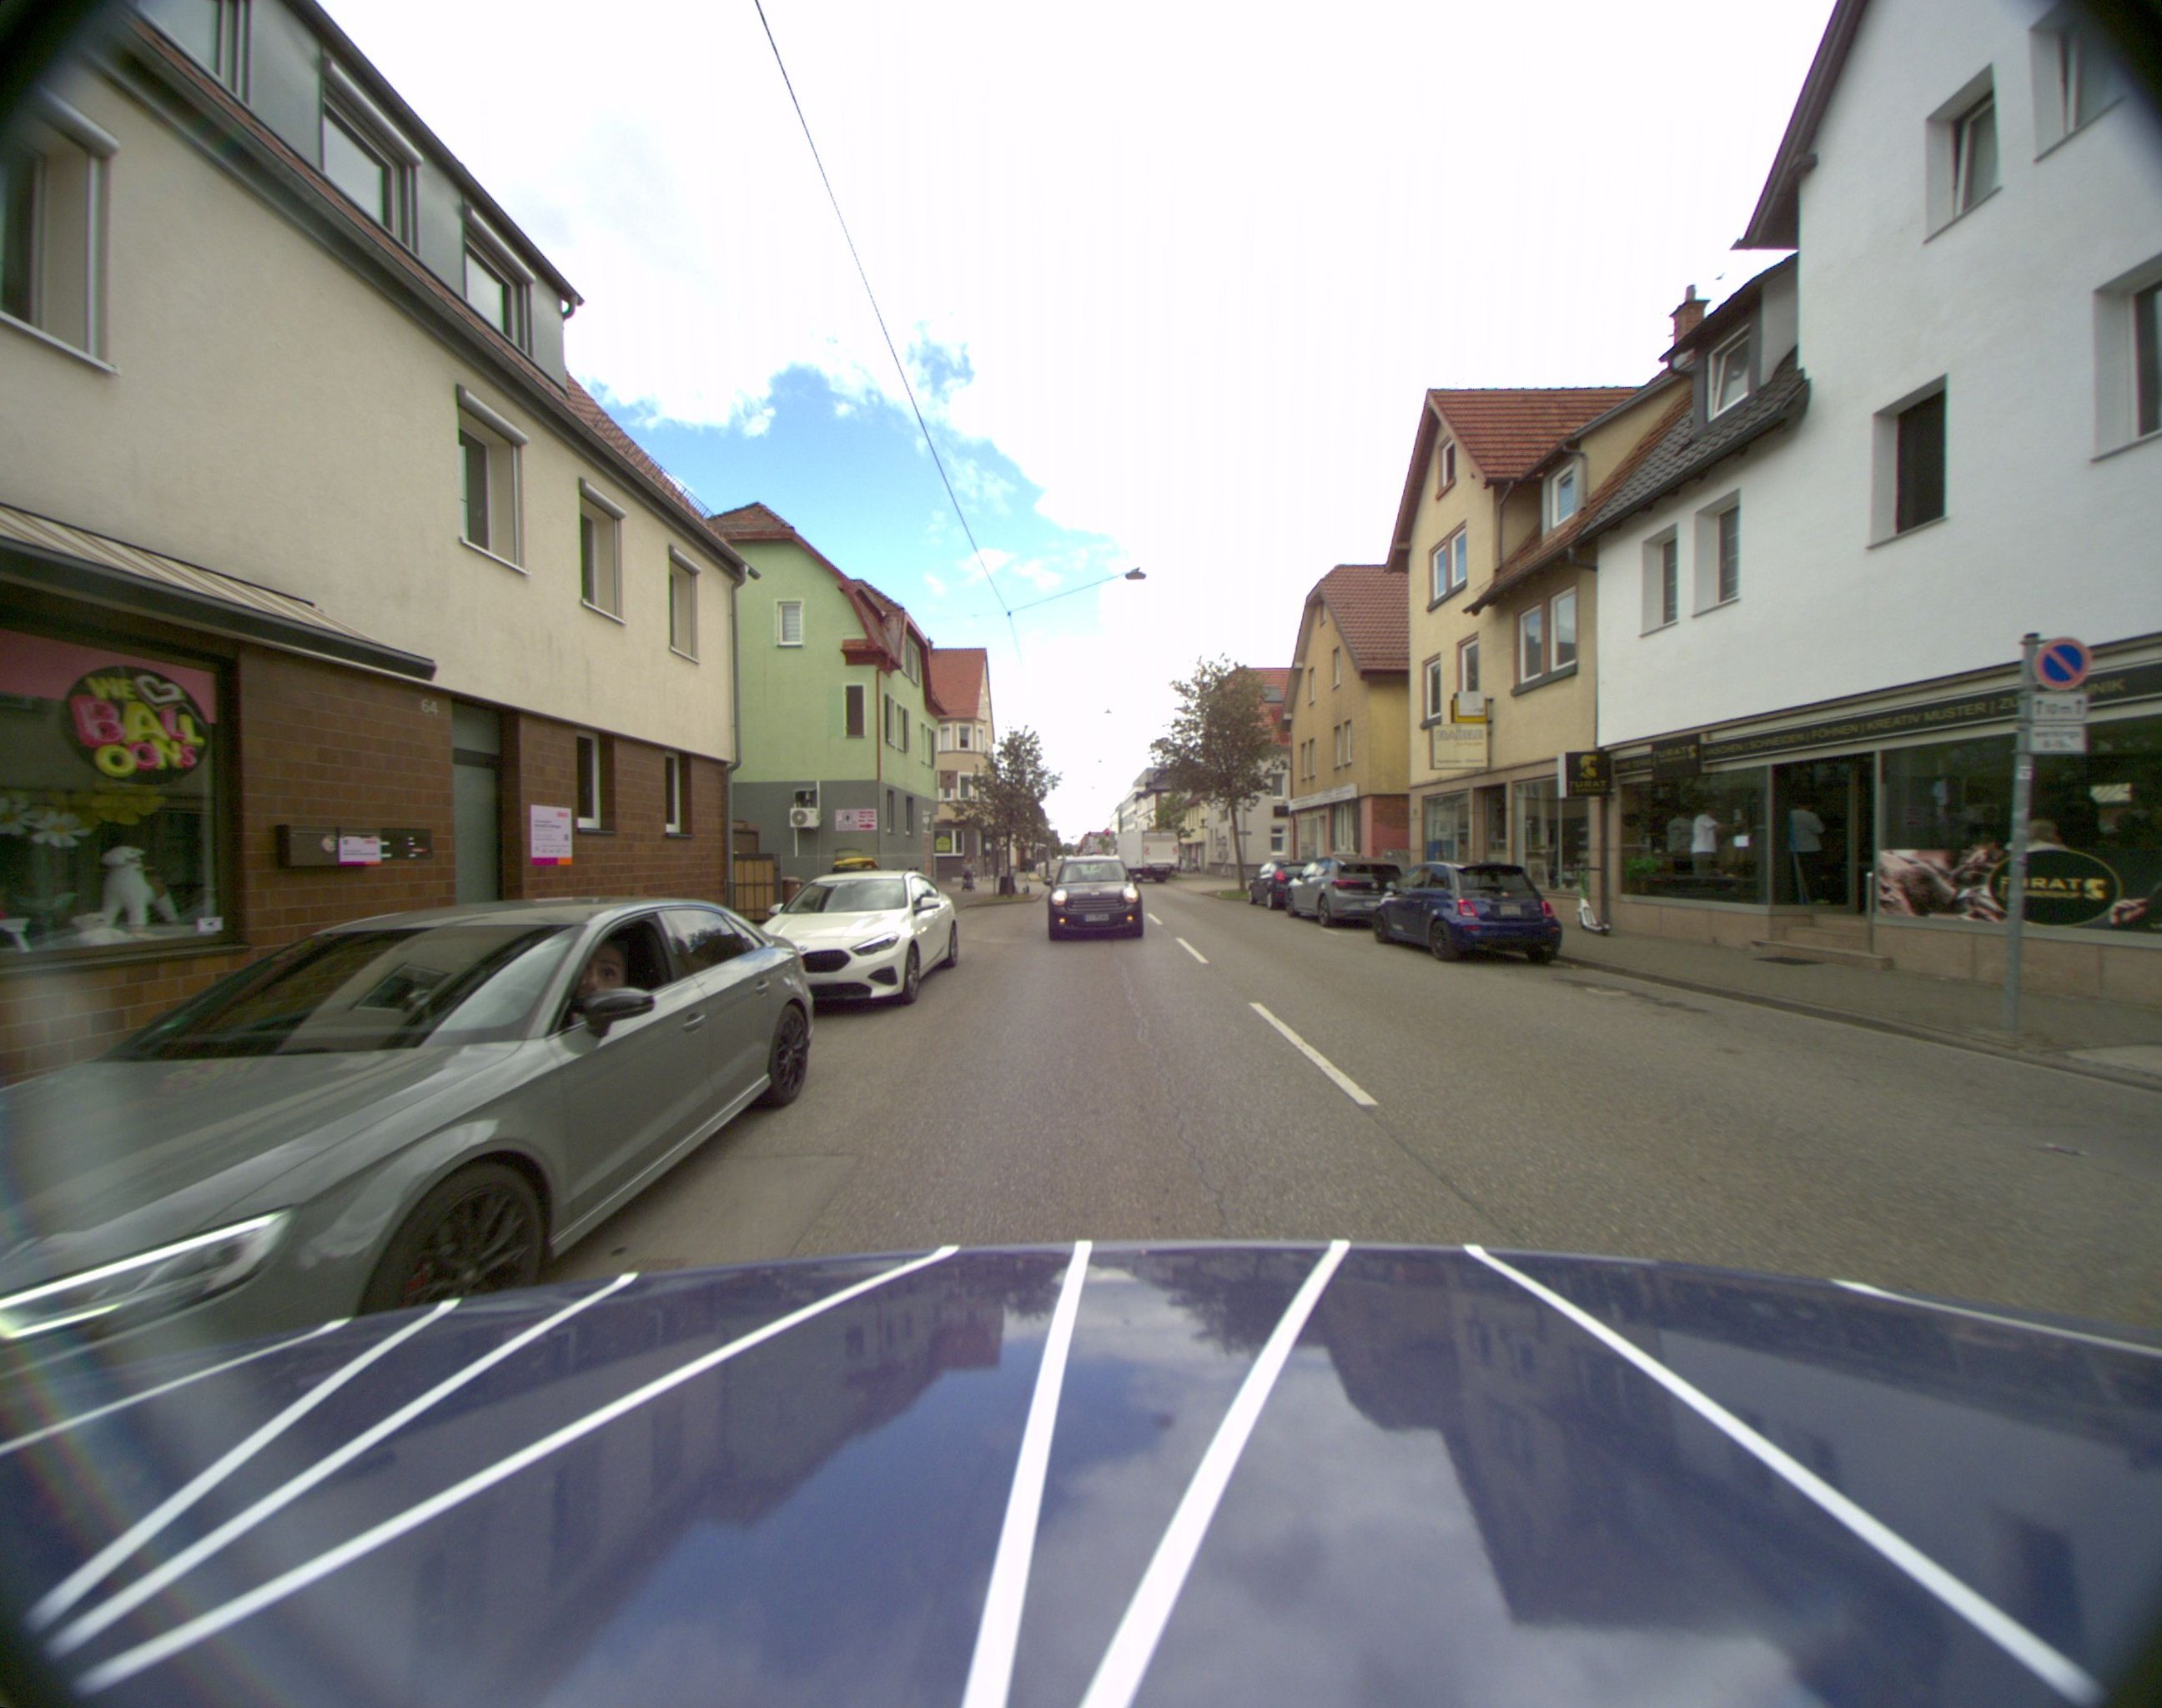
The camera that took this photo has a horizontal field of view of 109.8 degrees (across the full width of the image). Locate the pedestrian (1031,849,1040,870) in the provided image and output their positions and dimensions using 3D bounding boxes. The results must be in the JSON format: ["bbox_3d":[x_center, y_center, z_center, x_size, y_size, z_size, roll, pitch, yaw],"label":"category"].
[{"bbox_3d":[-4.436,0.537,74.341,0.826,2.062,1.010,2,1,-1],"label":"pedestrian"}]

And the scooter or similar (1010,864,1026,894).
[{"bbox_3d":[-2.727,1.051,32.825,0.503,1.228,1.942,-2,1,0],"label":"scooter or similar"}]

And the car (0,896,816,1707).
[{"bbox_3d":[-2.714,1.046,3.119,1.836,1.437,4.109,-2,0,-1],"label":"car"}]

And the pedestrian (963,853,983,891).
[{"bbox_3d":[-5.057,0.842,35.530,0.752,1.710,0.900,-2,1,0],"label":"pedestrian"}]

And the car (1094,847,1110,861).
[{"bbox_3d":[2.668,-0.023,98.738,1.998,1.785,4.277,0,0,0],"label":"car"}]

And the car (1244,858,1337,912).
[{"bbox_3d":[6.199,0.860,22.937,1.687,1.416,3.930,1,0,0],"label":"car"}]

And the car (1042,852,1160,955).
[{"bbox_3d":[0.329,0.796,14.545,1.847,1.571,4.428,-3,0,0],"label":"car"}]

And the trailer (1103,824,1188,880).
[{"bbox_3d":[3.827,-0.167,47.131,2.513,3.201,7.122,-2,1,-19],"label":"trailer"}]

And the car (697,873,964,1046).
[{"bbox_3d":[-2.688,1.046,9.321,1.836,1.437,4.331,-2,0,-1],"label":"car"}]

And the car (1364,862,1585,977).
[{"bbox_3d":[6.022,0.909,12.137,1.686,1.484,3.591,1,0,1],"label":"car"}]

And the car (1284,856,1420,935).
[{"bbox_3d":[6.089,0.854,17.603,1.714,1.557,4.113,1,0,1],"label":"car"}]

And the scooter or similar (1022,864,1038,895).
[{"bbox_3d":[-2.190,1.084,32.831,0.503,1.228,1.942,-2,1,0],"label":"scooter or similar"}]

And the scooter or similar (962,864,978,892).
[{"bbox_3d":[-5.060,1.071,34.619,0.591,1.225,0.891,-2,1,0],"label":"scooter or similar"}]
